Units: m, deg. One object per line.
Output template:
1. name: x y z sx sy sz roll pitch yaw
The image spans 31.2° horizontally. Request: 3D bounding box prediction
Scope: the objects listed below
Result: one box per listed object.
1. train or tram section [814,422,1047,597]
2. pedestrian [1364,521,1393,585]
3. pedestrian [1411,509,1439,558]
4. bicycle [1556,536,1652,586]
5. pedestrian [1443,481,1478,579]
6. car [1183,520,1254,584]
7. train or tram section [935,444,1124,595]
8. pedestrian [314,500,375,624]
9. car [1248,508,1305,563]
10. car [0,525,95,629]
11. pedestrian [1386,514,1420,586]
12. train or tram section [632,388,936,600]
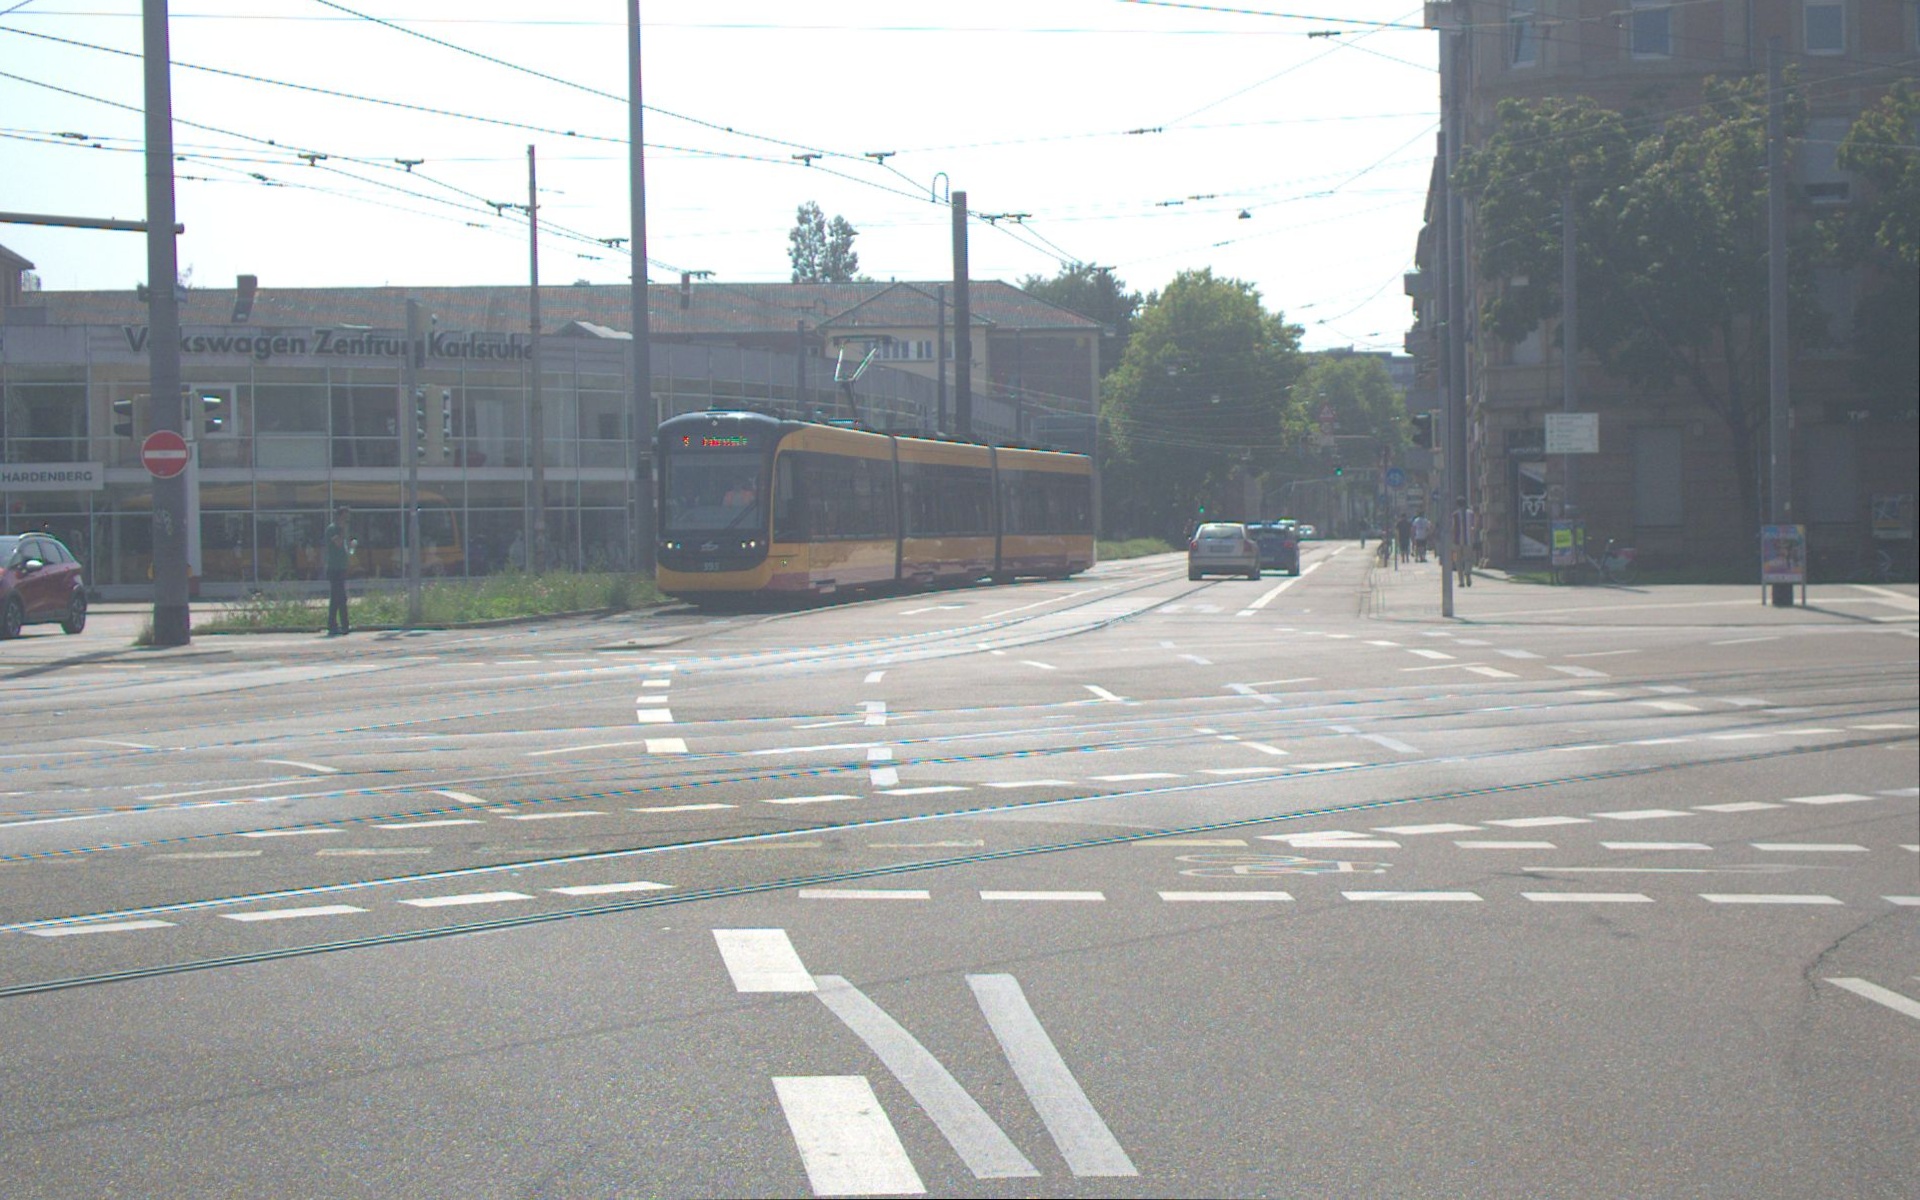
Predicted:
1. train or tram section: -0.457 -1.889 76.161 2.588 3.548 12.211 1 0 12
2. pedestrian: 13.227 -1.489 108.574 0.791 2.007 0.810 1 0 0
3. pedestrian: 15.989 -2.288 118.229 0.839 1.665 0.810 1 1 0
4. bicycle: 12.577 -0.759 67.166 1.782 0.954 0.462 -1 1 2
5. pedestrian: 10.284 -1.445 70.708 0.649 2.007 0.703 -1 1 4
6. car: 6.590 -1.217 87.938 1.732 1.568 3.612 1 0 3
7. train or tram section: 1.925 -1.949 87.678 2.588 3.548 12.211 1 0 12
8. pedestrian: -8.463 -0.524 47.284 0.802 1.681 0.719 -1 1 -10
9. car: 8.920 -1.819 97.093 1.510 1.506 3.623 -1 1 4
10. car: -14.314 -0.355 50.863 1.625 1.467 3.771 0 1 8
11. pedestrian: 12.407 -1.402 96.299 0.839 2.007 0.810 1 0 0
12. train or tram section: -3.012 -1.824 63.748 2.588 3.548 12.211 1 0 12
